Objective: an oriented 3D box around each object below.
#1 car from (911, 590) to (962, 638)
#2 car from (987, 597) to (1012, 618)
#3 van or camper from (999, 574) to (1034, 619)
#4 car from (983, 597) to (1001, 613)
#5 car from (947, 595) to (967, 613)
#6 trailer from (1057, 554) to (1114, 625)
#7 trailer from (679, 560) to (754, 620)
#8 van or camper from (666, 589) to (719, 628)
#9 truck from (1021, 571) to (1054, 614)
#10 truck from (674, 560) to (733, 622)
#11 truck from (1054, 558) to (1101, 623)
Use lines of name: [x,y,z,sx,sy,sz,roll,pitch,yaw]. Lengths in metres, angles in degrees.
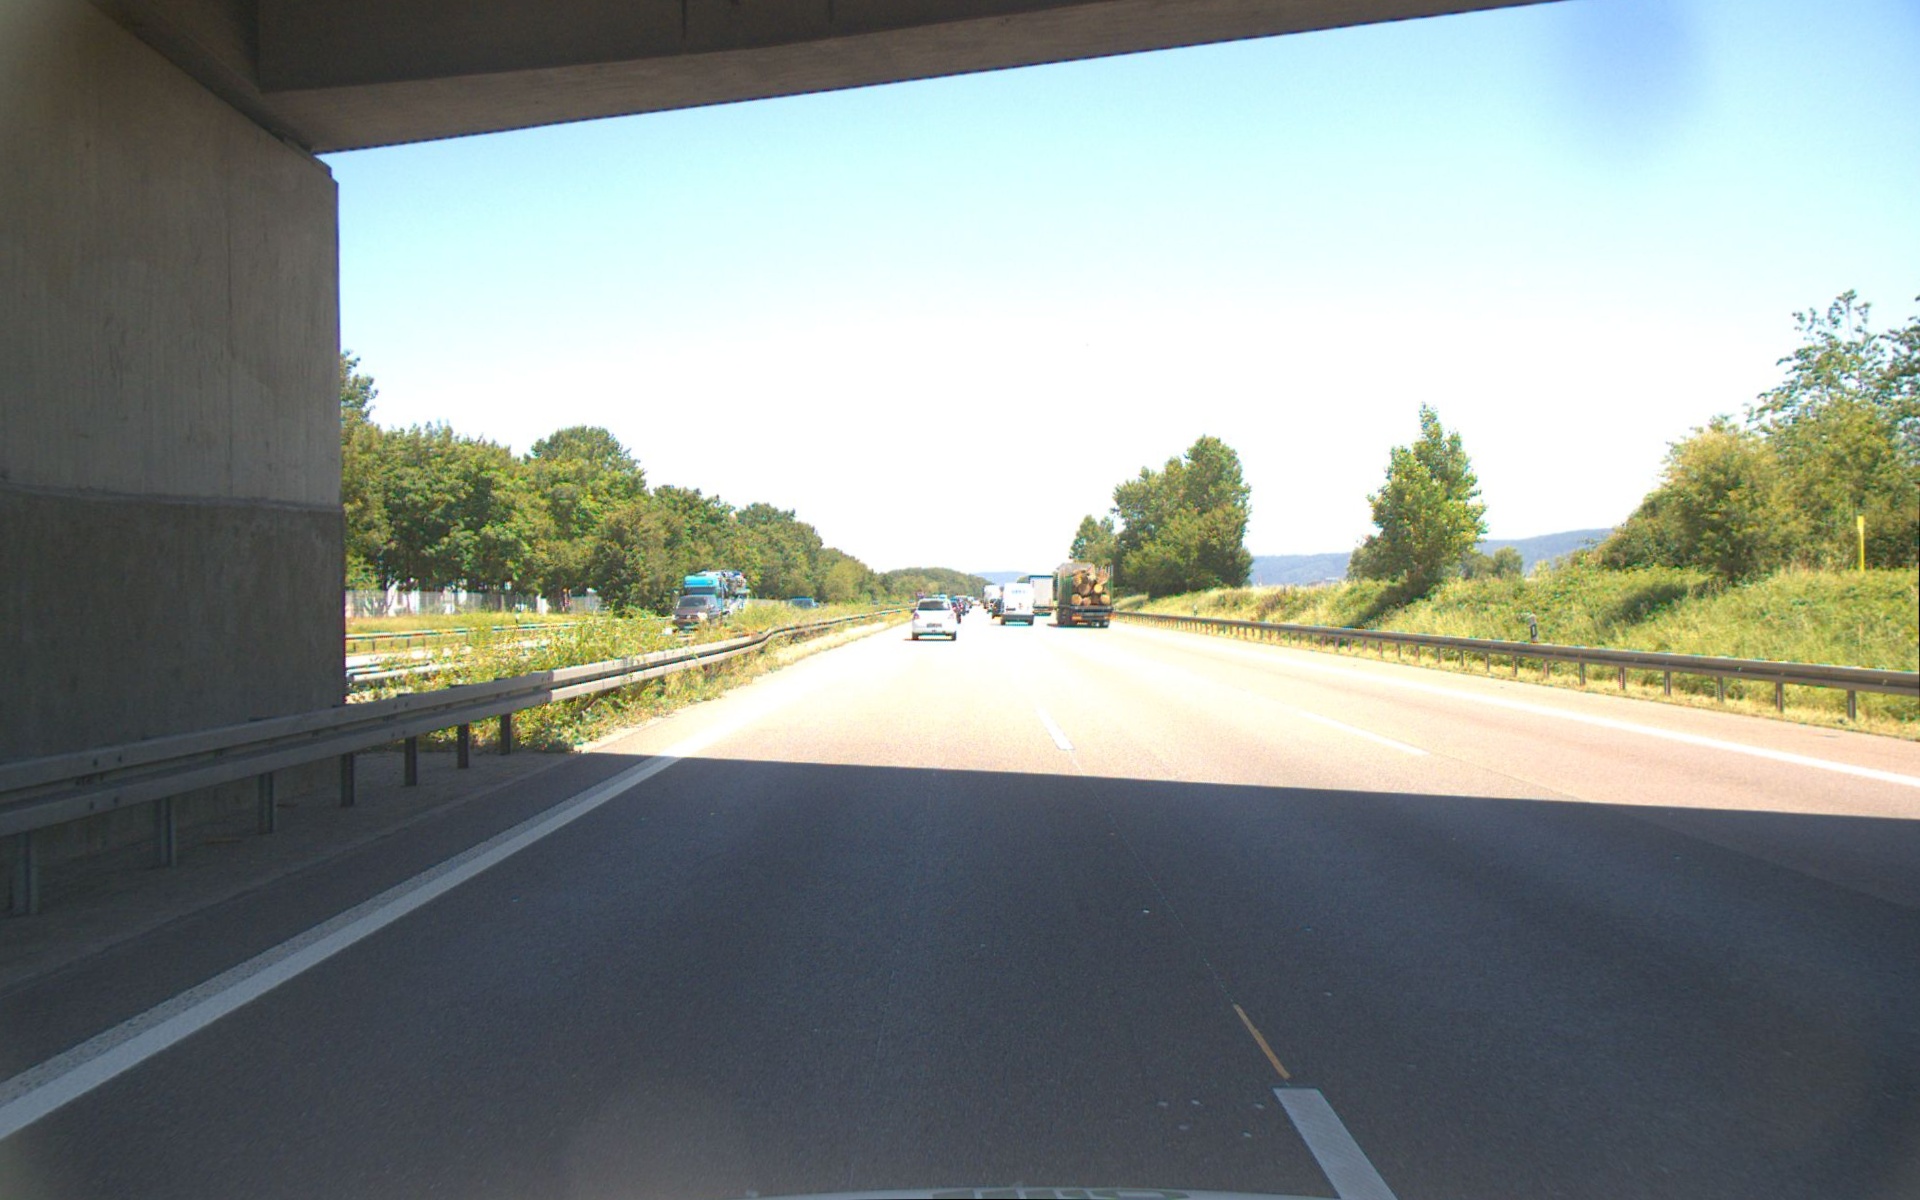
car: [-0.873,0.509,62.074,1.819,1.681,3.999,2,0,-1]
car: [3.247,0.612,136.565,1.819,1.681,3.999,1,0,-1]
van or camper: [3.466,-0.204,102.605,2.016,2.668,5.985,0,0,1]
car: [3.611,0.545,186.283,1.819,1.681,3.999,1,0,-1]
car: [-0.314,0.341,157.412,1.819,1.681,3.999,1,0,-1]
trailer: [7.565,-0.606,101.143,2.598,4.028,13.637,1,0,1]
trailer: [-17.886,-0.692,122.904,2.820,4.047,17.473,-3,0,0]
van or camper: [-13.566,0.425,84.107,1.953,1.902,4.455,-2,0,-1]
truck: [8.223,-0.772,176.994,3.015,4.282,16.845,1,0,1]
truck: [-17.952,-0.606,116.085,2.820,4.044,7.371,-3,0,0]
truck: [7.641,-0.618,108.272,2.615,4.064,6.636,1,0,1]
